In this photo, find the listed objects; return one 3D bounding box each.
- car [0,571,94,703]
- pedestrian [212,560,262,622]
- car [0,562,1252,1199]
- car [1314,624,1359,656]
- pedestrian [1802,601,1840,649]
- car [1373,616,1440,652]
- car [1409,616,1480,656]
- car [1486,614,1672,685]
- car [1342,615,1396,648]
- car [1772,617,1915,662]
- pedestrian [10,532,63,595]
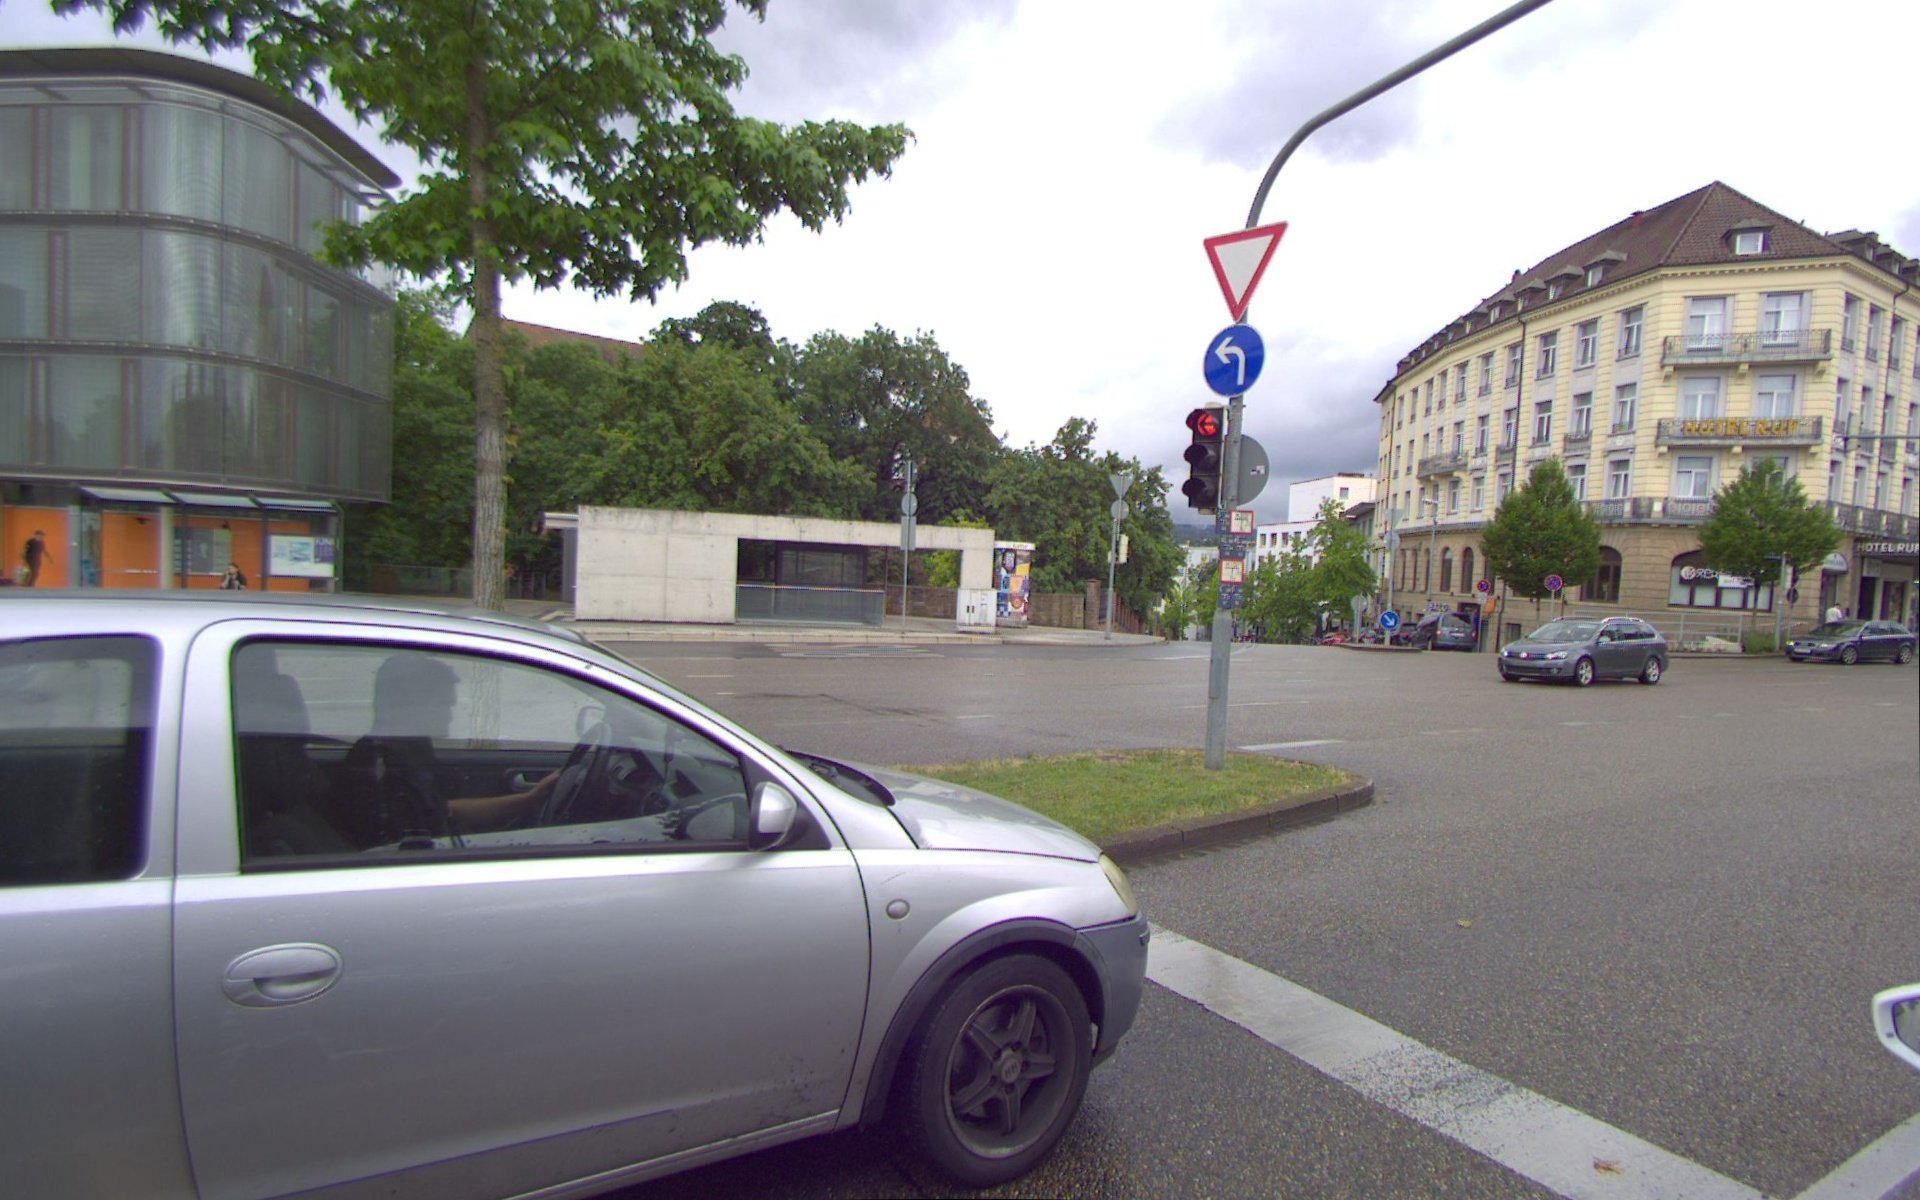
[{"bbox_3d":[-12.698,0.369,11.434,3.974,1.496,1.625,2,1,-27],"label":"car"},{"bbox_3d":[-16.084,-0.191,22.372,0.780,1.341,0.798,1,1,-28],"label":"pedestrian"},{"bbox_3d":[-1.200,0.683,2.499,3.693,1.478,1.614,2,1,-32],"label":"car"},{"bbox_3d":[23.583,2.480,63.042,1.741,1.836,3.624,2,1,7],"label":"car"},{"bbox_3d":[35.522,1.028,41.446,1.010,1.903,0.859,1,1,-30],"label":"pedestrian"},{"bbox_3d":[22.905,1.720,51.690,1.959,1.662,4.002,2,0,6],"label":"car"},{"bbox_3d":[21.733,1.577,45.183,1.764,1.589,4.002,2,1,9],"label":"car"},{"bbox_3d":[13.851,1.076,22.450,4.008,1.460,1.748,2,-1,-28],"label":"car"},{"bbox_3d":[23.160,1.775,56.988,1.757,1.662,3.916,2,1,6],"label":"car"},{"bbox_3d":[29.918,1.333,34.040,3.993,1.387,1.754,1,1,-16],"label":"car"},{"bbox_3d":[-24.991,-0.984,27.185,0.834,1.675,0.708,2,1,13],"label":"pedestrian"}]
